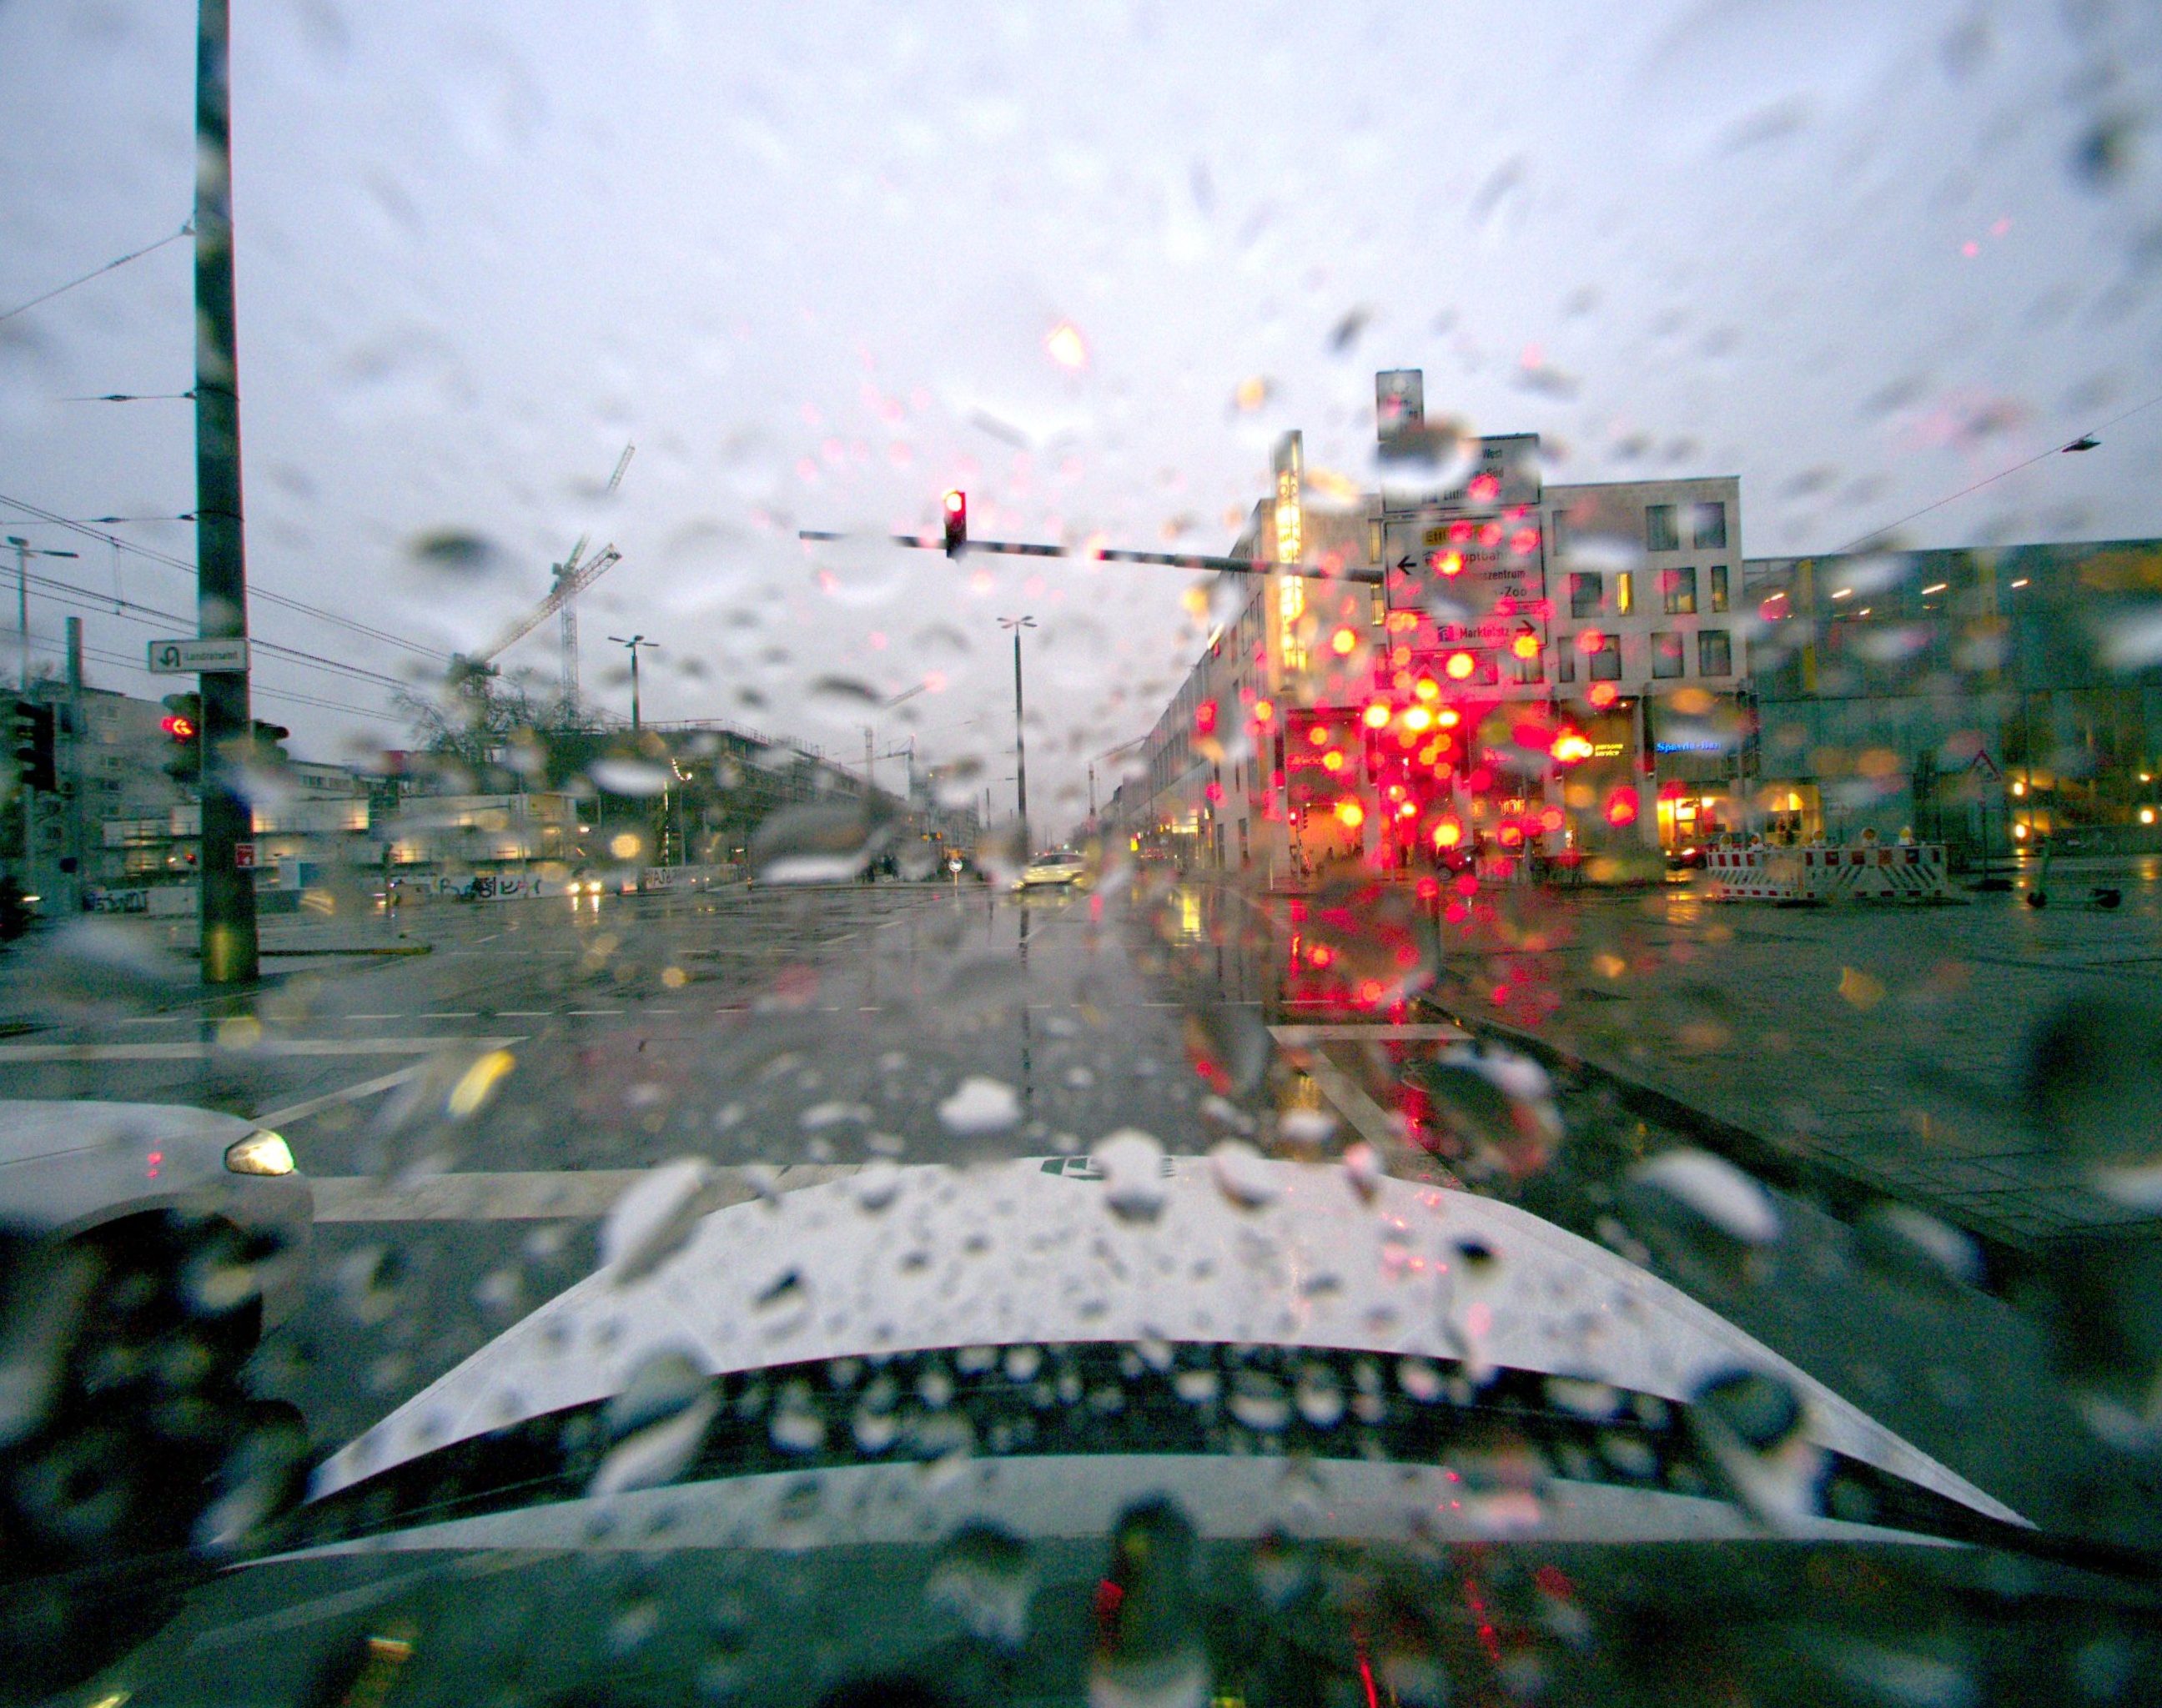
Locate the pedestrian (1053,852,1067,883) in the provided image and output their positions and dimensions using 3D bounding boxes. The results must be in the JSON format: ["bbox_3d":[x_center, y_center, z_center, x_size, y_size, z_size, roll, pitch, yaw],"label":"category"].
[{"bbox_3d":[-1.243,0.793,47.786,0.700,1.760,0.652,-2,-1,1],"label":"pedestrian"}]

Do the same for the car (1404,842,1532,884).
[{"bbox_3d":[16.261,0.377,34.420,4.509,1.574,1.801,-2,0,9],"label":"car"}]

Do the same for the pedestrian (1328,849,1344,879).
[{"bbox_3d":[15.168,0.605,48.522,0.700,1.760,0.668,-2,-1,1],"label":"pedestrian"}]

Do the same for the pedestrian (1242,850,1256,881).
[{"bbox_3d":[9.611,0.651,46.549,0.631,1.772,0.484,-2,-1,0],"label":"pedestrian"}]

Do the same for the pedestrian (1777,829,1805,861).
[{"bbox_3d":[36.057,-0.452,41.378,0.791,1.631,0.709,-1,-1,1],"label":"pedestrian"}]

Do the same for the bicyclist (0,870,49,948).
[{"bbox_3d":[-23.910,1.227,18.104,1.031,1.697,0.616,-2,-1,-5],"label":"bicyclist"}]

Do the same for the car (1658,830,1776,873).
[{"bbox_3d":[26.373,-0.080,33.829,3.558,1.582,1.676,-2,-1,-1],"label":"car"}]

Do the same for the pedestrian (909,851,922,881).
[{"bbox_3d":[-9.776,0.729,48.196,0.617,1.746,0.612,-2,-1,-4],"label":"pedestrian"}]

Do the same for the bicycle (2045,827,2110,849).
[{"bbox_3d":[48.592,-0.762,39.738,0.613,1.033,2.138,-2,0,3],"label":"bicycle"}]

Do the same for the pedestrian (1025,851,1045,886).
[{"bbox_3d":[-2.144,0.674,38.128,0.810,1.570,0.537,-2,-1,6],"label":"pedestrian"}]

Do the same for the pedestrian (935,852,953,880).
[{"bbox_3d":[-7.999,0.718,47.604,0.806,1.607,0.746,-2,-1,1],"label":"pedestrian"}]

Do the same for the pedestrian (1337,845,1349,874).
[{"bbox_3d":[16.062,0.343,49.943,0.530,1.718,0.505,-3,-1,39],"label":"pedestrian"}]

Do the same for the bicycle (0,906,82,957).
[{"bbox_3d":[-23.881,1.736,18.093,2.369,1.033,0.616,-2,-1,-6],"label":"bicycle"}]

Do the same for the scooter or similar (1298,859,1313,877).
[{"bbox_3d":[13.051,0.811,47.366,0.738,0.993,0.401,-2,-1,3],"label":"scooter or similar"}]

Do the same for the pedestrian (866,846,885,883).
[{"bbox_3d":[-11.307,0.567,44.791,0.781,2.013,0.606,-2,-1,-37],"label":"pedestrian"}]

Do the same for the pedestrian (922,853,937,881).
[{"bbox_3d":[-8.743,0.743,47.112,0.704,1.619,0.613,-2,-1,-1],"label":"pedestrian"}]

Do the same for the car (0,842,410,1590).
[{"bbox_3d":[-3.188,0.764,0.190,1.903,1.520,4.923,-2,0,0],"label":"car"}]

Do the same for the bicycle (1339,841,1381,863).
[{"bbox_3d":[17.545,-0.126,51.291,2.420,1.329,0.634,-2,0,-4],"label":"bicycle"}]

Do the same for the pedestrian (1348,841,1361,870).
[{"bbox_3d":[16.801,0.091,49.972,0.530,1.718,0.505,-3,-1,39],"label":"pedestrian"}]

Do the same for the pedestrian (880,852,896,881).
[{"bbox_3d":[-11.041,0.703,46.638,0.704,1.619,0.681,-2,-1,3],"label":"pedestrian"}]

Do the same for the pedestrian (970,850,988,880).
[{"bbox_3d":[-5.855,0.630,46.645,0.826,1.679,0.621,-2,-1,9],"label":"pedestrian"}]

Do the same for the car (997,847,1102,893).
[{"bbox_3d":[-1.292,0.680,34.908,4.285,1.761,1.708,-2,0,2],"label":"car"}]

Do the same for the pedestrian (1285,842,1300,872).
[{"bbox_3d":[12.294,0.178,47.368,0.738,1.667,0.401,-2,-1,3],"label":"pedestrian"}]

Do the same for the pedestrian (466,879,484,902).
[{"bbox_3d":[-41.686,2.501,56.035,0.638,1.529,0.801,-3,-1,32],"label":"pedestrian"}]

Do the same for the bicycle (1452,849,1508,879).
[{"bbox_3d":[15.389,0.387,31.438,1.831,1.093,0.620,-2,-1,16],"label":"bicycle"}]

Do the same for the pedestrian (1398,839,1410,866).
[{"bbox_3d":[20.767,-0.085,52.412,0.530,1.718,0.505,-3,-1,39],"label":"pedestrian"}]

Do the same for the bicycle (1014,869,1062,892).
[{"bbox_3d":[-2.014,1.225,38.109,2.118,0.991,0.542,-2,0,5],"label":"bicycle"}]

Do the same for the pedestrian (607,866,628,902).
[{"bbox_3d":[-26.865,1.721,47.225,0.792,2.013,0.745,-2,-1,-9],"label":"pedestrian"}]

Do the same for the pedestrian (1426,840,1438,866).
[{"bbox_3d":[23.948,-0.073,55.547,0.530,1.718,0.505,-3,-1,39],"label":"pedestrian"}]

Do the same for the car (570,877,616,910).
[{"bbox_3d":[-33.516,2.660,56.020,1.760,2.013,3.977,-2,0,-17],"label":"car"}]

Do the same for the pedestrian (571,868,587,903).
[{"bbox_3d":[-28.699,1.799,46.598,0.507,2.014,0.638,-2,-2,-9],"label":"pedestrian"}]

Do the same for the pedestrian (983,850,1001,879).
[{"bbox_3d":[-5.195,0.607,47.391,0.838,1.688,0.679,-2,-1,9],"label":"pedestrian"}]

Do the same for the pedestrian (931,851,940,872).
[{"bbox_3d":[-12.185,0.597,68.343,0.660,1.746,0.733,-2,-1,-9],"label":"pedestrian"}]

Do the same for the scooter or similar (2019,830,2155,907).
[{"bbox_3d":[15.849,0.218,12.874,0.603,1.130,1.236,-2,0,2],"label":"scooter or similar"}]

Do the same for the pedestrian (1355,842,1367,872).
[{"bbox_3d":[16.868,0.166,49.090,0.510,1.760,0.374,-2,-1,1],"label":"pedestrian"}]

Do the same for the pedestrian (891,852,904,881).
[{"bbox_3d":[-11.073,0.753,49.032,0.617,1.746,0.612,-2,-1,-4],"label":"pedestrian"}]

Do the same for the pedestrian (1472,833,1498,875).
[{"bbox_3d":[15.550,-0.005,31.359,0.775,1.595,0.616,-2,-1,17],"label":"pedestrian"}]

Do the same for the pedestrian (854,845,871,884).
[{"bbox_3d":[-11.853,0.584,44.184,0.691,2.087,0.606,-2,-1,-39],"label":"pedestrian"}]

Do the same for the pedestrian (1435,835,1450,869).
[{"bbox_3d":[18.290,-0.099,41.211,0.530,1.685,0.552,-3,-1,39],"label":"pedestrian"}]
